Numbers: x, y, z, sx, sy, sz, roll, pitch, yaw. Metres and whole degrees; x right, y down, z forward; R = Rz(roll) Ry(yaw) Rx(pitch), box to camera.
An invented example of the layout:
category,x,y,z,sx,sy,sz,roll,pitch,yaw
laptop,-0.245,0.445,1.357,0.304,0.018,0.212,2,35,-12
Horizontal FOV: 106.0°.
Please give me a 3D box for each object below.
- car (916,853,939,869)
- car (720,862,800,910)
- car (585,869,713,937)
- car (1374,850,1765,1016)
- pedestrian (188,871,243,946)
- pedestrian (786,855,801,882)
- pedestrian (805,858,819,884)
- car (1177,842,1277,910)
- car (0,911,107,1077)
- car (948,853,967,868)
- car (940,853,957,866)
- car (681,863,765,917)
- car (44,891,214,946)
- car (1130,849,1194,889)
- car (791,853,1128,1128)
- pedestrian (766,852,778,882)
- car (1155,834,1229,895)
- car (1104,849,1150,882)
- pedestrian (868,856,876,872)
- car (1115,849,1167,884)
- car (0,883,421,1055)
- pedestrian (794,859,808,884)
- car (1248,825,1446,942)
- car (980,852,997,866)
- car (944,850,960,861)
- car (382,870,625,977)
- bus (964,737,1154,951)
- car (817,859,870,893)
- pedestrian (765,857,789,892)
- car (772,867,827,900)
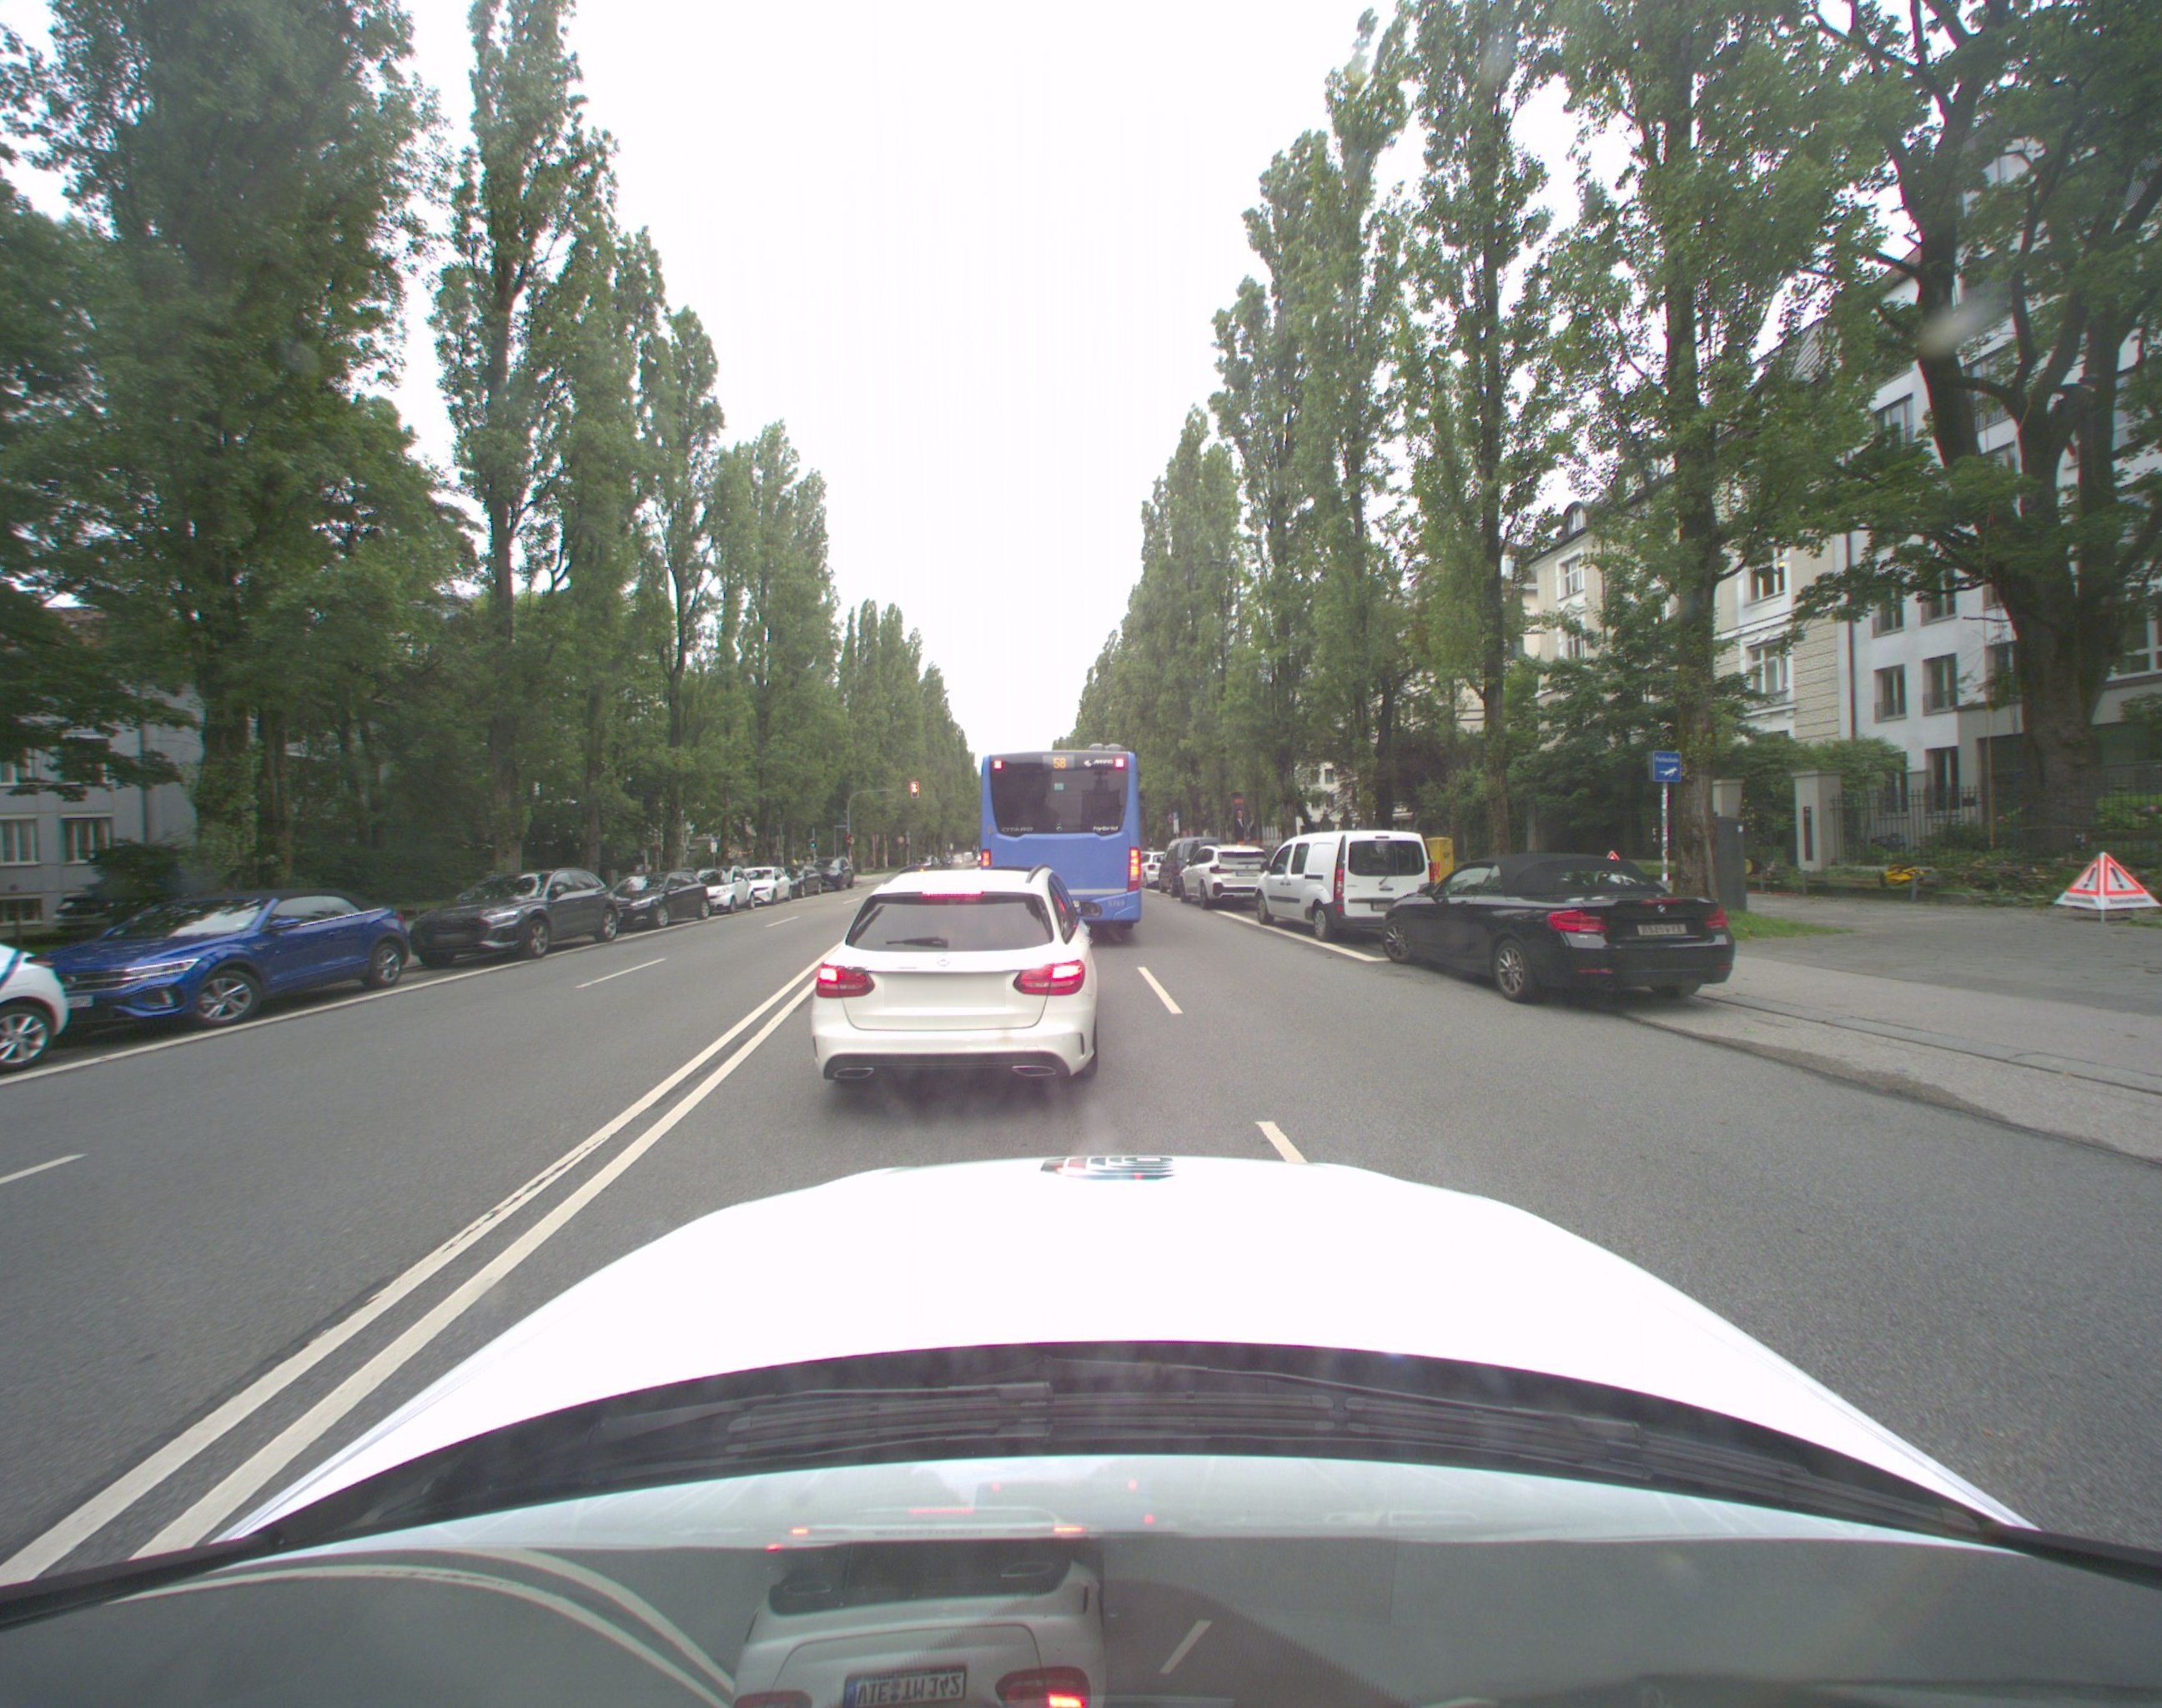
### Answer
category,x,y,z,sx,sy,sz,roll,pitch,yaw
car,-15.649,0.723,83.103,1.818,1.486,3.993,-2,0,-5
car,-12.085,1.150,30.891,1.706,1.548,3.993,-3,0,-5
car,-11.475,1.239,21.917,1.537,1.433,3.862,-5,0,-5
car,4.907,0.659,8.949,1.742,1.354,3.996,-2,0,-3
pedestrian,-21.054,1.312,19.821,0.598,1.739,0.639,-2,0,-5
pedestrian,-18.985,0.944,53.864,0.702,1.736,0.808,-2,0,-6
pedestrian,-22.119,1.396,66.928,0.829,2.013,0.776,-2,0,-7
car,3.754,0.512,21.609,1.674,1.596,4.081,0,0,-4
car,-10.339,1.324,5.976,1.683,1.413,3.997,-4,0,-5
car,-13.864,0.720,91.681,1.818,1.486,3.993,-2,0,-5
car,-16.606,0.718,102.312,1.818,1.486,3.993,-2,0,-5
car,-11.797,1.144,27.042,1.407,1.552,3.439,-2,0,-4
car,-36.262,2.392,31.229,1.995,1.684,4.249,-3,0,-12
car,3.218,0.565,33.142,1.796,1.475,3.992,-2,0,-5
car,-0.737,0.743,6.777,1.821,1.454,4.579,-1,0,-2
pedestrian,-20.815,0.881,54.867,0.501,2.013,0.600,-2,0,-5
car,3.572,0.303,26.859,1.699,1.836,3.996,-1,0,-3
car,2.410,0.584,43.400,1.806,1.618,3.992,-2,0,-6
pedestrian,-26.004,1.227,101.184,0.829,2.013,0.776,-2,0,-8
car,2.745,0.540,38.255,1.783,1.491,3.993,-2,0,-5
car,-10.758,1.251,10.392,1.743,1.518,4.104,-4,0,-10
pedestrian,-22.973,1.419,66.838,0.829,2.013,0.776,-2,0,-7
car,4.491,0.440,14.492,1.830,1.773,4.222,0,0,-5
car,-11.540,0.653,101.583,1.990,1.619,3.993,-2,0,-5
car,-17.814,0.213,112.421,1.818,1.486,3.993,-2,0,-5
car,-10.846,1.197,15.769,1.788,1.548,4.330,-5,0,-5
bus,-0.155,-0.188,17.042,2.844,3.213,9.065,-1,0,2
car,-12.213,1.089,42.105,1.704,1.552,3.995,-2,0,-4
pedestrian,-15.556,1.037,41.660,0.821,1.764,1.078,-2,0,-7
car,-12.512,1.263,36.404,1.286,1.273,3.844,-2,0,-4
